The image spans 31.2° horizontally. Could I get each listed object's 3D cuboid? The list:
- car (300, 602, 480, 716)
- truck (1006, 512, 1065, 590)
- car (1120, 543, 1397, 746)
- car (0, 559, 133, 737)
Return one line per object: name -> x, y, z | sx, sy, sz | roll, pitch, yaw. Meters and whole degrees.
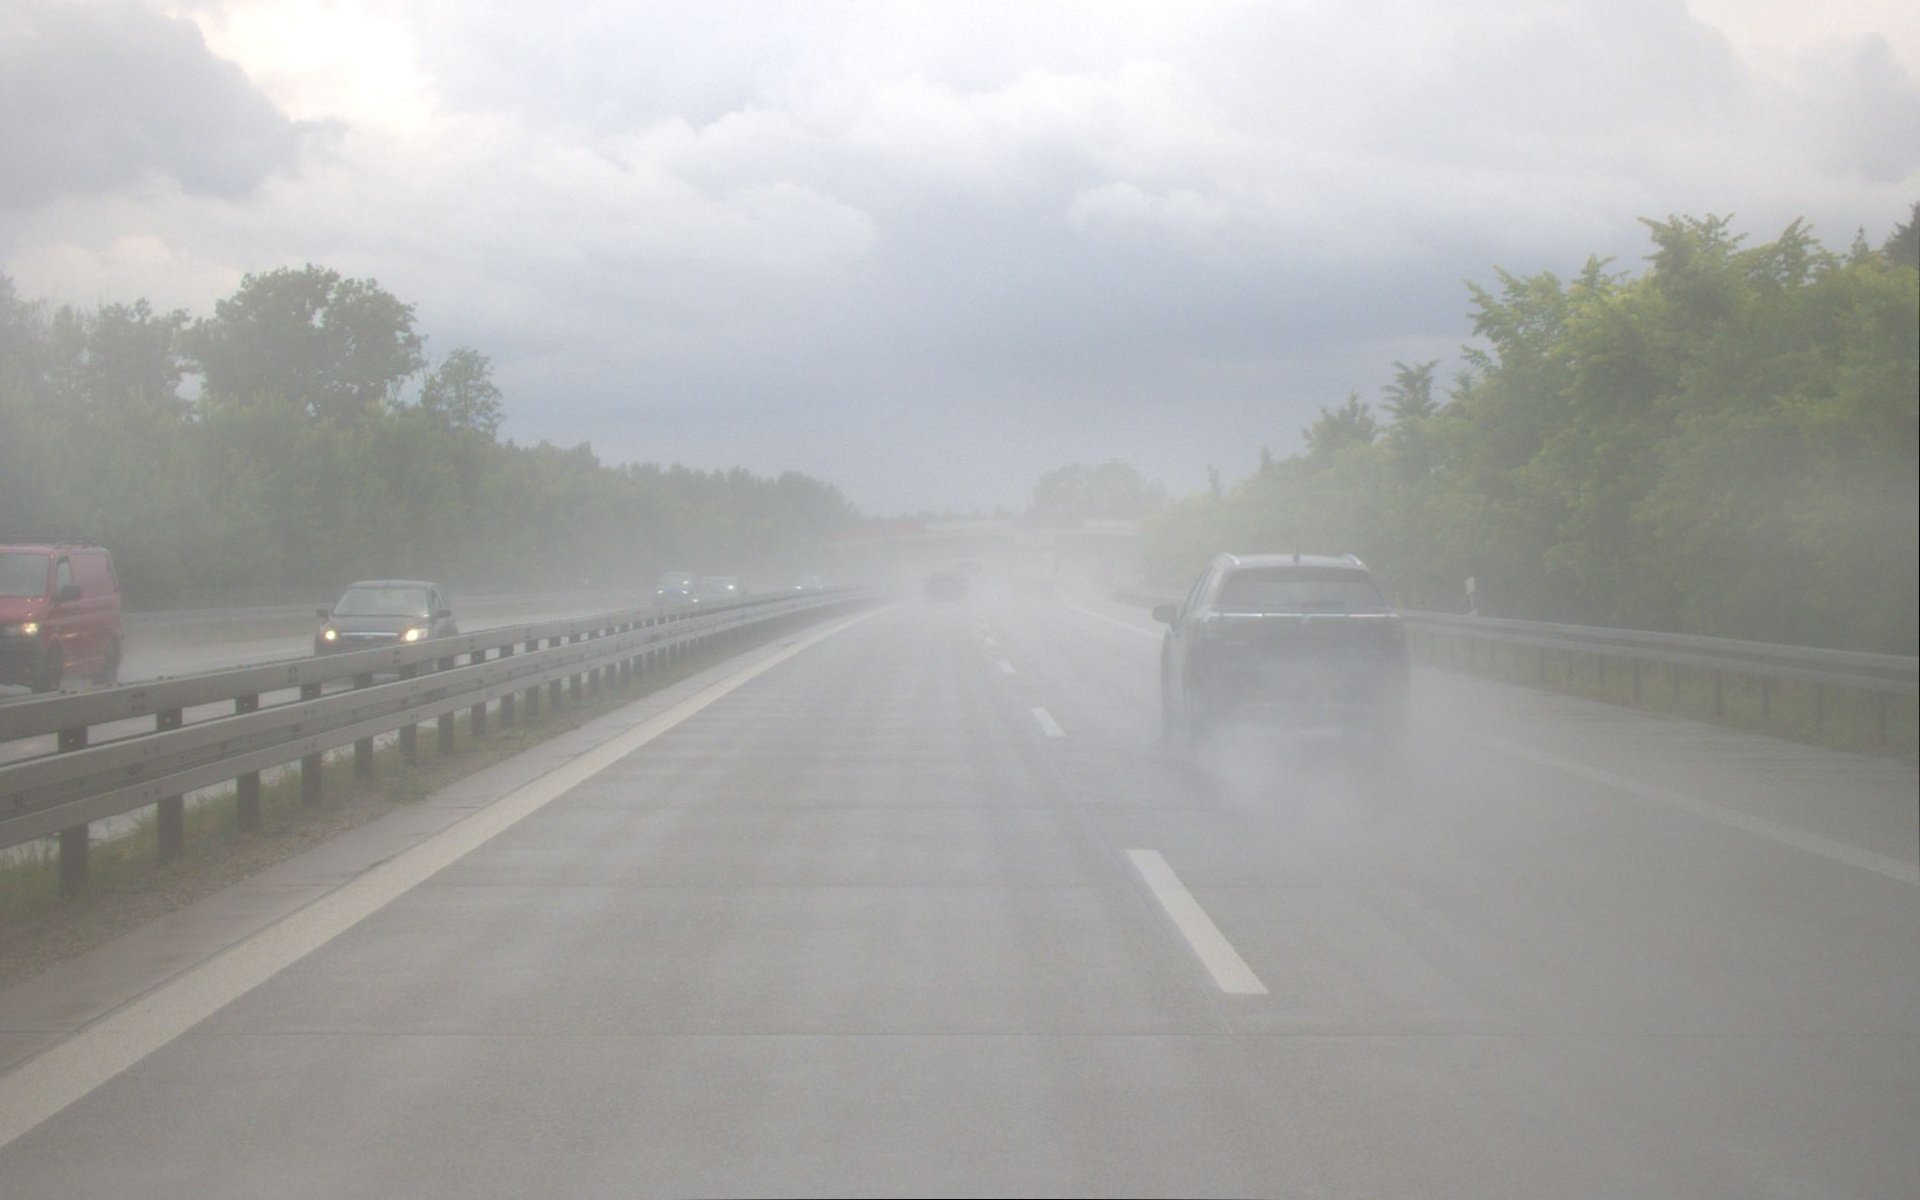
car -> -8.595, 0.854, 52.163 | 1.993, 1.478, 4.557 | -2, 1, -1
truck -> 4.462, -2.815, 201.309 | 3.244, 4.422, 8.245 | 0, 0, 3
car -> 2.430, 0.358, 28.806 | 1.894, 1.571, 3.632 | 1, 0, -2
car -> -12.115, 0.572, 43.572 | 1.993, 2.057, 5.313 | -2, 1, -1
